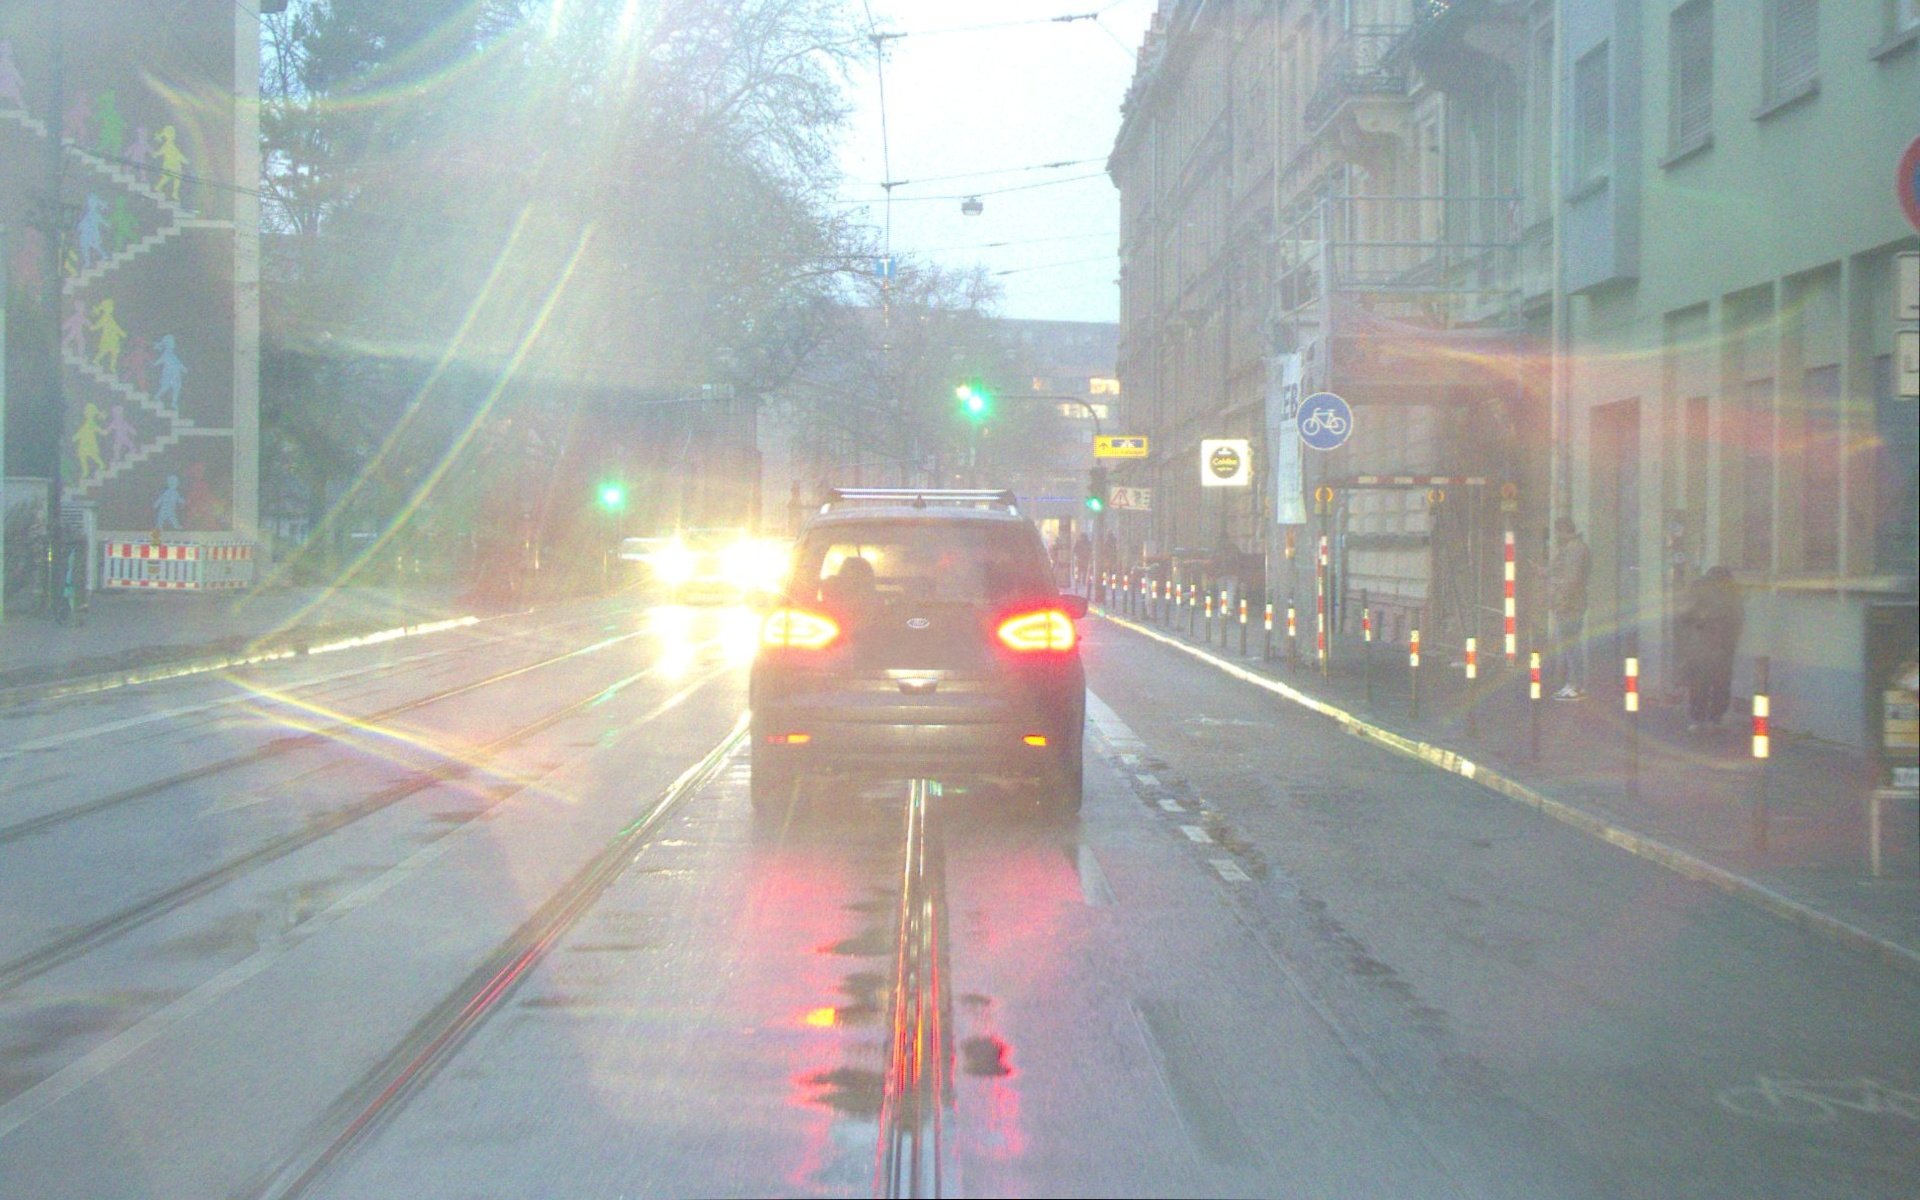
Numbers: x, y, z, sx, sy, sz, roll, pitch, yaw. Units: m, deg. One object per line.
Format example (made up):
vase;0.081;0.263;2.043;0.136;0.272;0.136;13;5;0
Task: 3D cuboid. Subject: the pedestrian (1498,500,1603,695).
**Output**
pedestrian;5.553;-0.029;32.338;0.598;1.812;0.776;1;1;-28

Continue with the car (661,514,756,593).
car;-5.619;-1.061;77.322;1.875;1.704;4.761;-1;1;-1

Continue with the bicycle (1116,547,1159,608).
bicycle;3.396;-0.436;65.759;0.684;1.152;2.188;1;1;0

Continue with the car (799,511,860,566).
car;-5.648;-2.651;149.555;2.446;2.339;5.845;0;1;0

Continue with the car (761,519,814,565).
car;-5.604;-1.899;111.977;1.530;1.476;3.561;0;1;0

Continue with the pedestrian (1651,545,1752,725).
pedestrian;5.782;0.265;26.825;0.600;1.372;0.728;1;1;-1

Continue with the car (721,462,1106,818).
car;-0.163;0.173;19.895;1.994;1.835;4.000;0;1;2

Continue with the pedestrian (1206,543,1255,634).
pedestrian;5.081;-0.220;64.632;0.835;1.695;0.953;1;1;8
